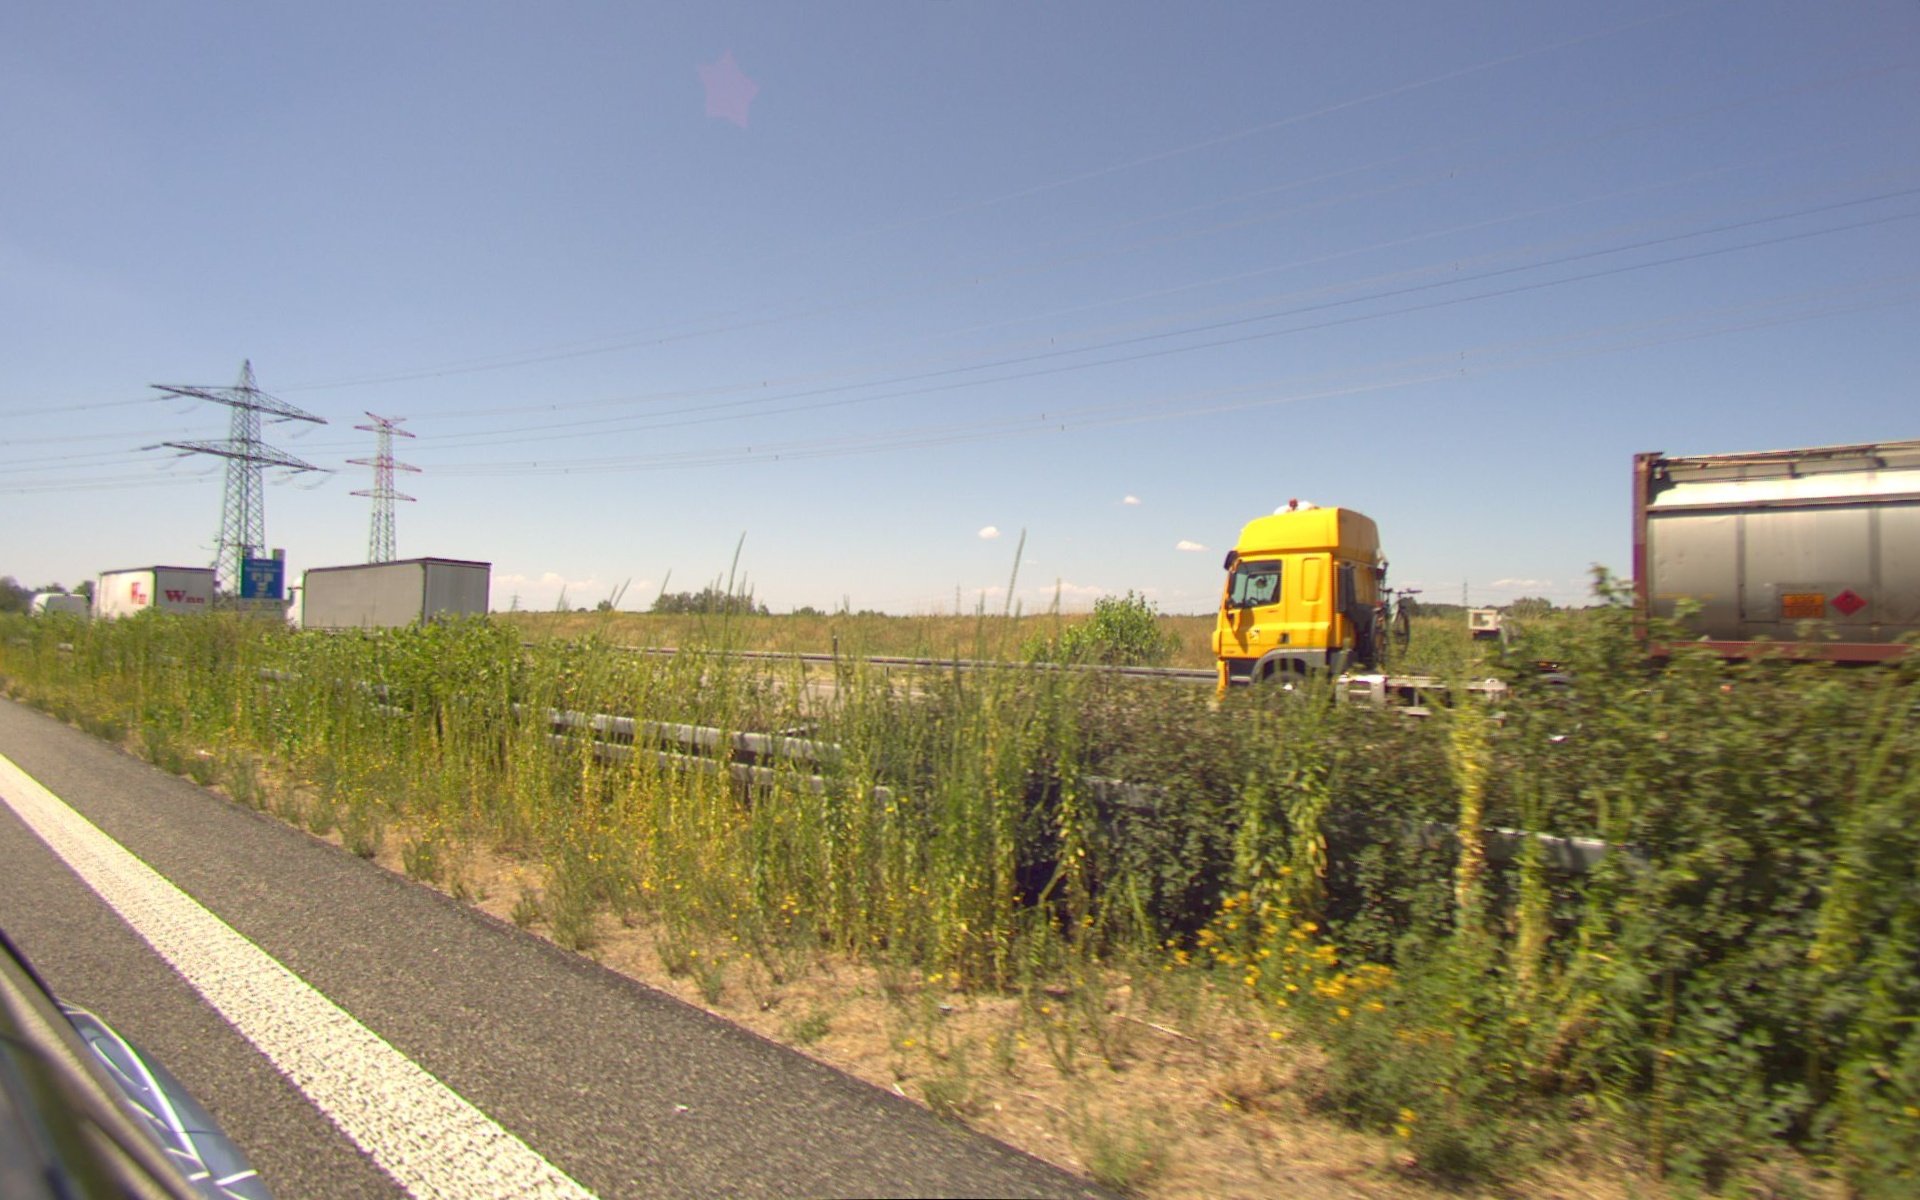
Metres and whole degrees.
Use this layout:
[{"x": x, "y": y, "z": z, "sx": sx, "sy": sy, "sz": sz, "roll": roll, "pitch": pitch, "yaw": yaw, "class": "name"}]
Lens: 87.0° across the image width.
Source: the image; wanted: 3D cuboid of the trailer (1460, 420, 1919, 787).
[{"x": 11.518, "y": 0.076, "z": 12.273, "sx": 9.418, "sy": 4.076, "sz": 2.708, "roll": -1, "pitch": -3, "yaw": 41, "class": "trailer"}]

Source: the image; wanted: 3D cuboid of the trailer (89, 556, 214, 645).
[{"x": -44.367, "y": 0.106, "z": 55.270, "sx": 14.230, "sy": 4.382, "sz": 2.741, "roll": -1, "pitch": -1, "yaw": 41, "class": "trailer"}]

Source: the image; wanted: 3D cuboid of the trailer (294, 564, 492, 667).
[{"x": -24.916, "y": 0.674, "z": 43.839, "sx": 14.229, "sy": 3.858, "sz": 2.741, "roll": -1, "pitch": -1, "yaw": 40, "class": "trailer"}]

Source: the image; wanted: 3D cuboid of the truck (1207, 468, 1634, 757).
[{"x": 7.126, "y": 0.233, "z": 16.055, "sx": 5.642, "sy": 3.756, "sz": 2.697, "roll": -1, "pitch": -3, "yaw": 41, "class": "truck"}]

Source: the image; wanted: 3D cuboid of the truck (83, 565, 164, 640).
[{"x": -49.103, "y": 0.166, "z": 59.374, "sx": 5.566, "sy": 4.190, "sz": 2.776, "roll": -1, "pitch": -1, "yaw": 41, "class": "truck"}]

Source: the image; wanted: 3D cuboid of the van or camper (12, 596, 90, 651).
[{"x": -47.490, "y": 1.247, "z": 52.827, "sx": 6.281, "sy": 2.602, "sz": 1.973, "roll": -1, "pitch": -7, "yaw": 40, "class": "van or camper"}]

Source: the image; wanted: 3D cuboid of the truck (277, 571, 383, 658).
[{"x": -30.017, "y": 0.675, "z": 48.161, "sx": 5.566, "sy": 3.882, "sz": 2.747, "roll": -1, "pitch": -1, "yaw": 41, "class": "truck"}]
